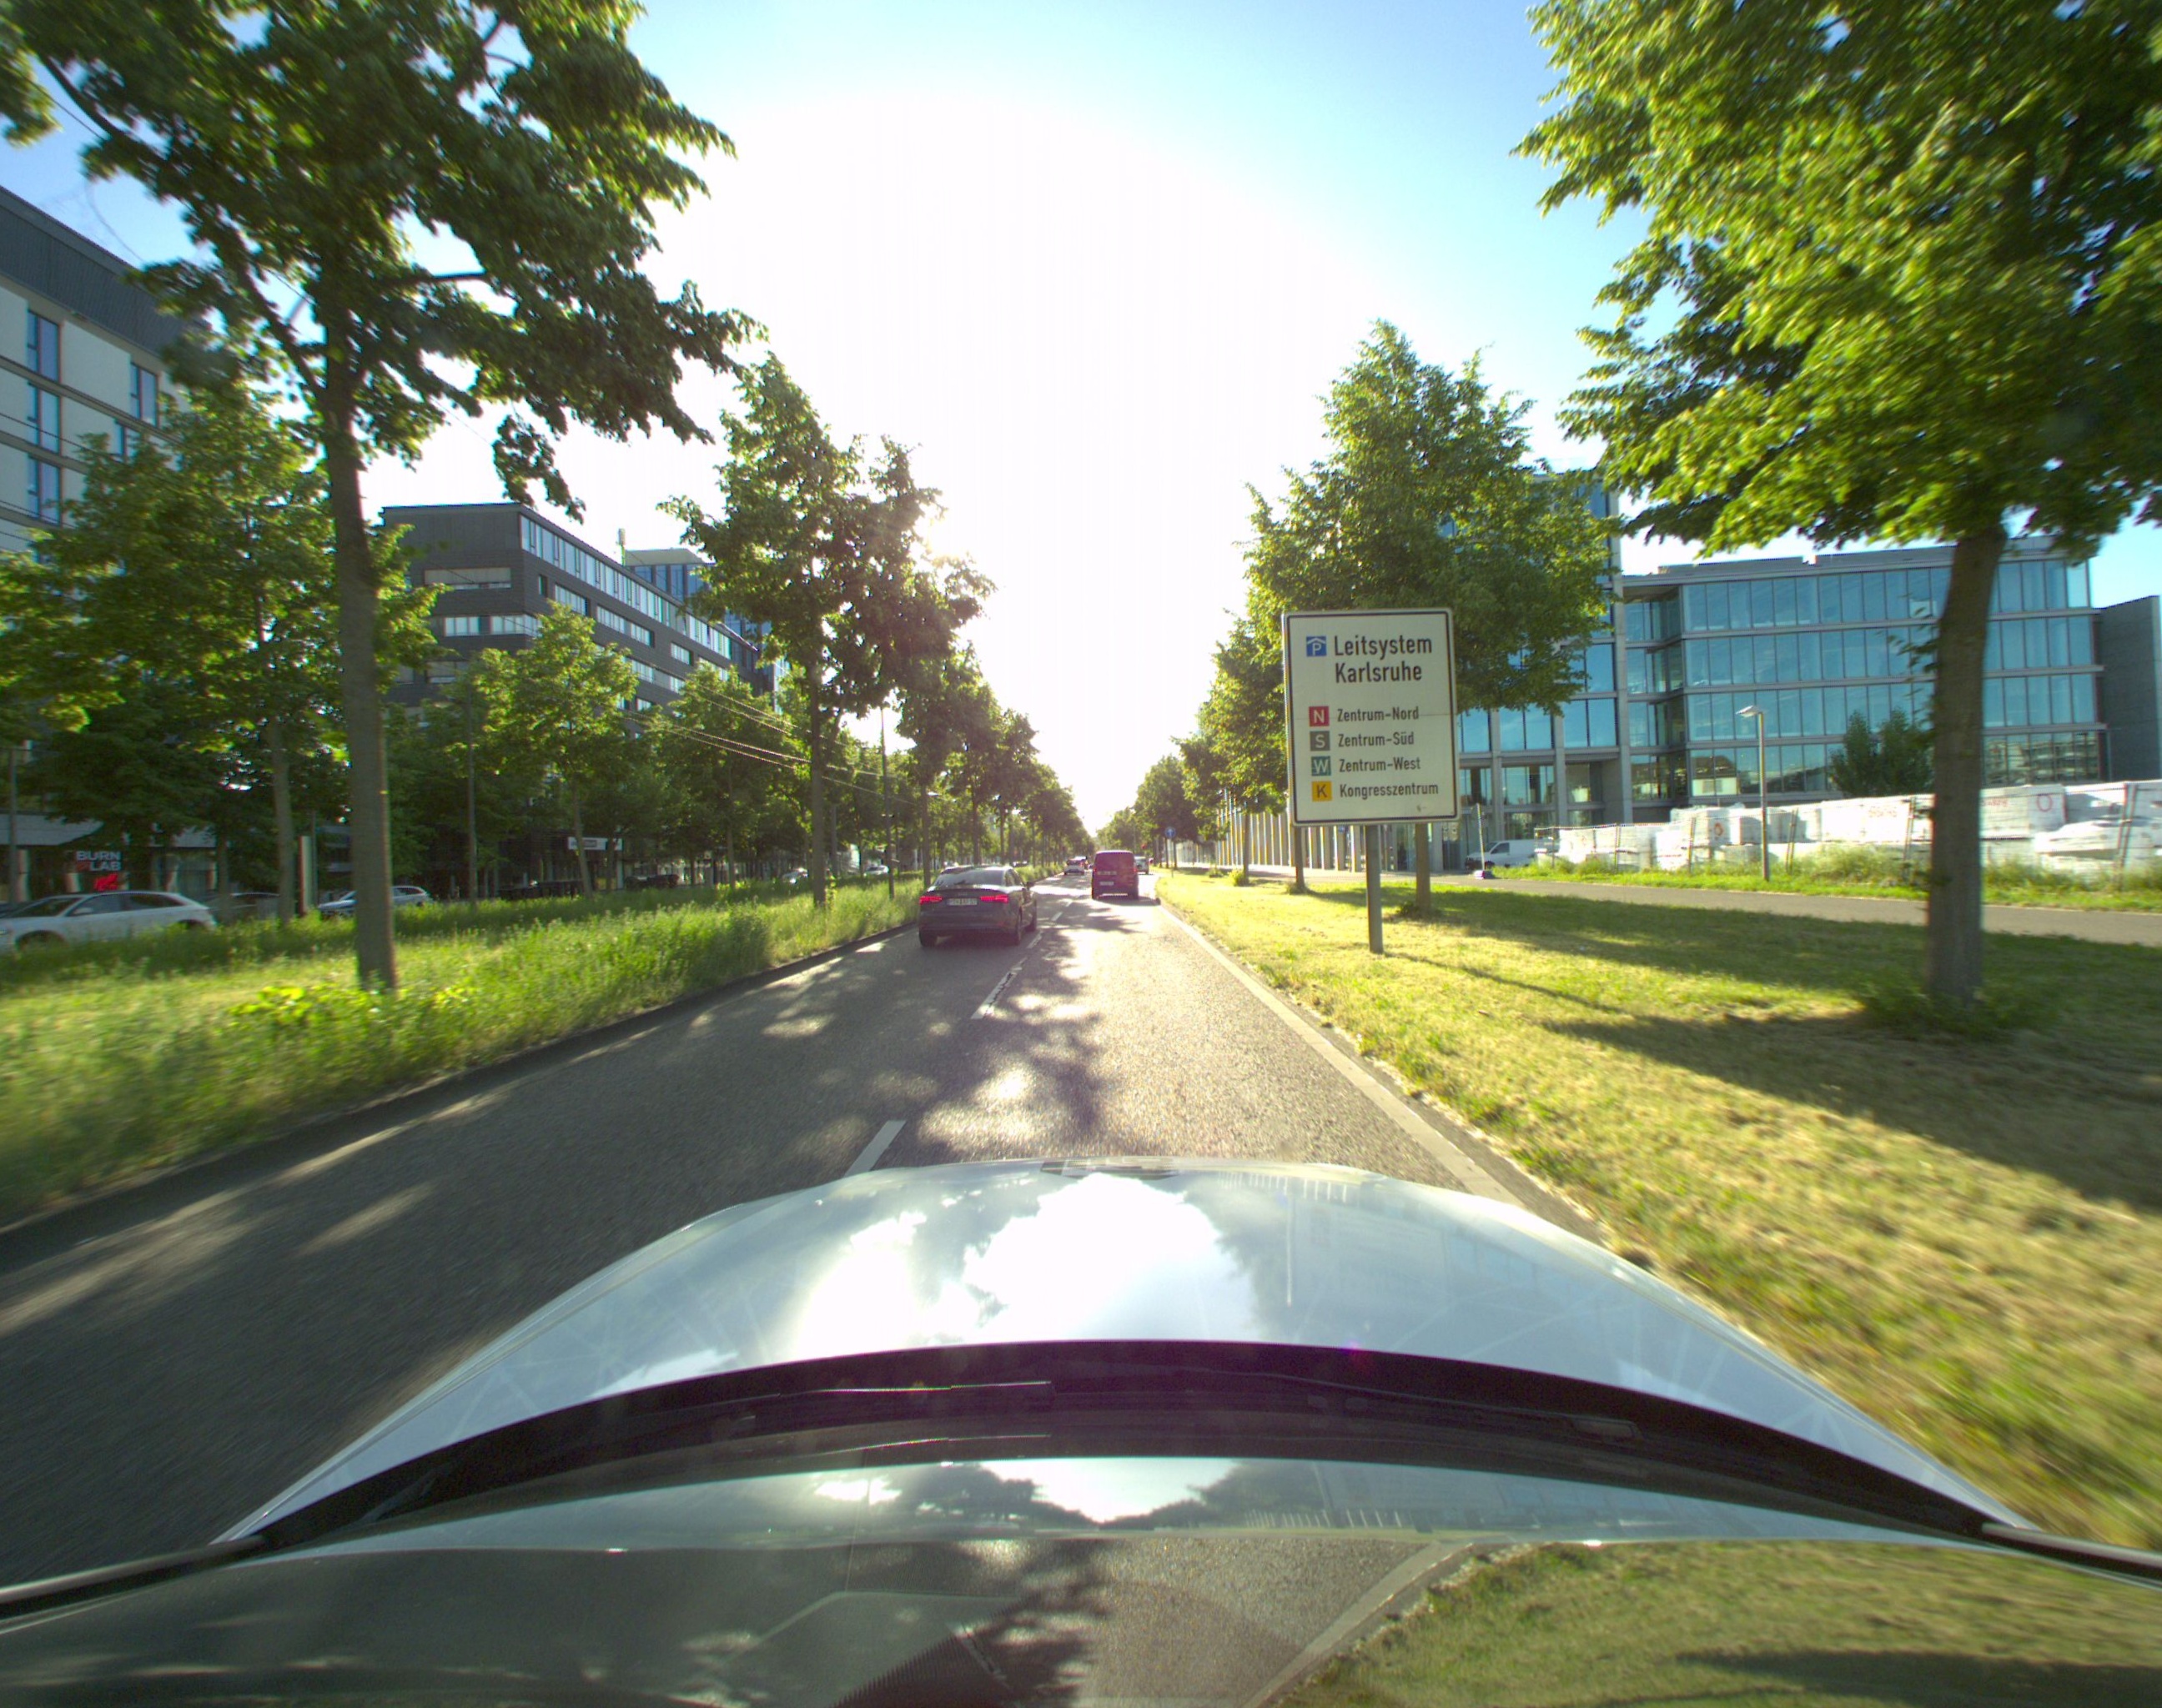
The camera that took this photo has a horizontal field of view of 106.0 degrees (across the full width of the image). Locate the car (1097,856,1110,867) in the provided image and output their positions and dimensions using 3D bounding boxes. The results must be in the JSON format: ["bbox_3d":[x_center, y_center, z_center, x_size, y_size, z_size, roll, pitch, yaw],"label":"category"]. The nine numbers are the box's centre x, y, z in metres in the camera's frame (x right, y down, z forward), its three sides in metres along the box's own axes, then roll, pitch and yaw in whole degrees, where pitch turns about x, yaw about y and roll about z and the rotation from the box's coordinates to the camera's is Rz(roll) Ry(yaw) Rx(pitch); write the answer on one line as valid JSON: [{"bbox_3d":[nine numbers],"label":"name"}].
[{"bbox_3d":[3.032,1.052,109.960,1.715,1.425,3.817,-2,0,1],"label":"car"}]

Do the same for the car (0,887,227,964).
[{"bbox_3d":[-22.659,1.571,18.519,1.791,1.292,4.312,-3,1,1],"label":"car"}]

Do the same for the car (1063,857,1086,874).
[{"bbox_3d":[-0.579,0.988,72.710,1.936,1.441,3.999,-2,0,-1],"label":"car"}]

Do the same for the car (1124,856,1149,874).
[{"bbox_3d":[4.664,0.937,69.327,1.717,1.425,3.813,0,1,-3],"label":"car"}]

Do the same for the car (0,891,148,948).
[{"bbox_3d":[-30.320,1.901,23.370,1.709,1.420,4.547,-2,0,2],"label":"car"}]

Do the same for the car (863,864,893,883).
[{"bbox_3d":[-20.197,1.925,81.165,1.791,1.689,4.322,-1,1,1],"label":"car"}]

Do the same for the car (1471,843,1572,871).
[{"bbox_3d":[23.703,0.133,43.976,4.481,1.393,1.781,-1,2,13],"label":"car"}]

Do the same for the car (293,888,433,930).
[{"bbox_3d":[-30.011,2.251,34.273,1.709,1.420,4.547,-2,0,2],"label":"car"}]

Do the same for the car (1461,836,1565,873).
[{"bbox_3d":[25.361,0.031,47.933,5.044,1.982,1.940,-2,0,3],"label":"car"}]

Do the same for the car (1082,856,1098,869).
[{"bbox_3d":[1.101,1.053,102.698,1.835,1.534,3.942,-1,0,3],"label":"car"}]

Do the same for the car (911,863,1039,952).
[{"bbox_3d":[-1.837,0.896,15.306,1.714,1.366,4.147,-1,0,2],"label":"car"}]

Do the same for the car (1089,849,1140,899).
[{"bbox_3d":[1.244,0.742,31.305,1.791,1.777,4.001,-1,0,1],"label":"car"}]

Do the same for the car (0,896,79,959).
[{"bbox_3d":[-33.549,2.294,23.931,1.791,1.777,5.130,-1,1,1],"label":"car"}]
